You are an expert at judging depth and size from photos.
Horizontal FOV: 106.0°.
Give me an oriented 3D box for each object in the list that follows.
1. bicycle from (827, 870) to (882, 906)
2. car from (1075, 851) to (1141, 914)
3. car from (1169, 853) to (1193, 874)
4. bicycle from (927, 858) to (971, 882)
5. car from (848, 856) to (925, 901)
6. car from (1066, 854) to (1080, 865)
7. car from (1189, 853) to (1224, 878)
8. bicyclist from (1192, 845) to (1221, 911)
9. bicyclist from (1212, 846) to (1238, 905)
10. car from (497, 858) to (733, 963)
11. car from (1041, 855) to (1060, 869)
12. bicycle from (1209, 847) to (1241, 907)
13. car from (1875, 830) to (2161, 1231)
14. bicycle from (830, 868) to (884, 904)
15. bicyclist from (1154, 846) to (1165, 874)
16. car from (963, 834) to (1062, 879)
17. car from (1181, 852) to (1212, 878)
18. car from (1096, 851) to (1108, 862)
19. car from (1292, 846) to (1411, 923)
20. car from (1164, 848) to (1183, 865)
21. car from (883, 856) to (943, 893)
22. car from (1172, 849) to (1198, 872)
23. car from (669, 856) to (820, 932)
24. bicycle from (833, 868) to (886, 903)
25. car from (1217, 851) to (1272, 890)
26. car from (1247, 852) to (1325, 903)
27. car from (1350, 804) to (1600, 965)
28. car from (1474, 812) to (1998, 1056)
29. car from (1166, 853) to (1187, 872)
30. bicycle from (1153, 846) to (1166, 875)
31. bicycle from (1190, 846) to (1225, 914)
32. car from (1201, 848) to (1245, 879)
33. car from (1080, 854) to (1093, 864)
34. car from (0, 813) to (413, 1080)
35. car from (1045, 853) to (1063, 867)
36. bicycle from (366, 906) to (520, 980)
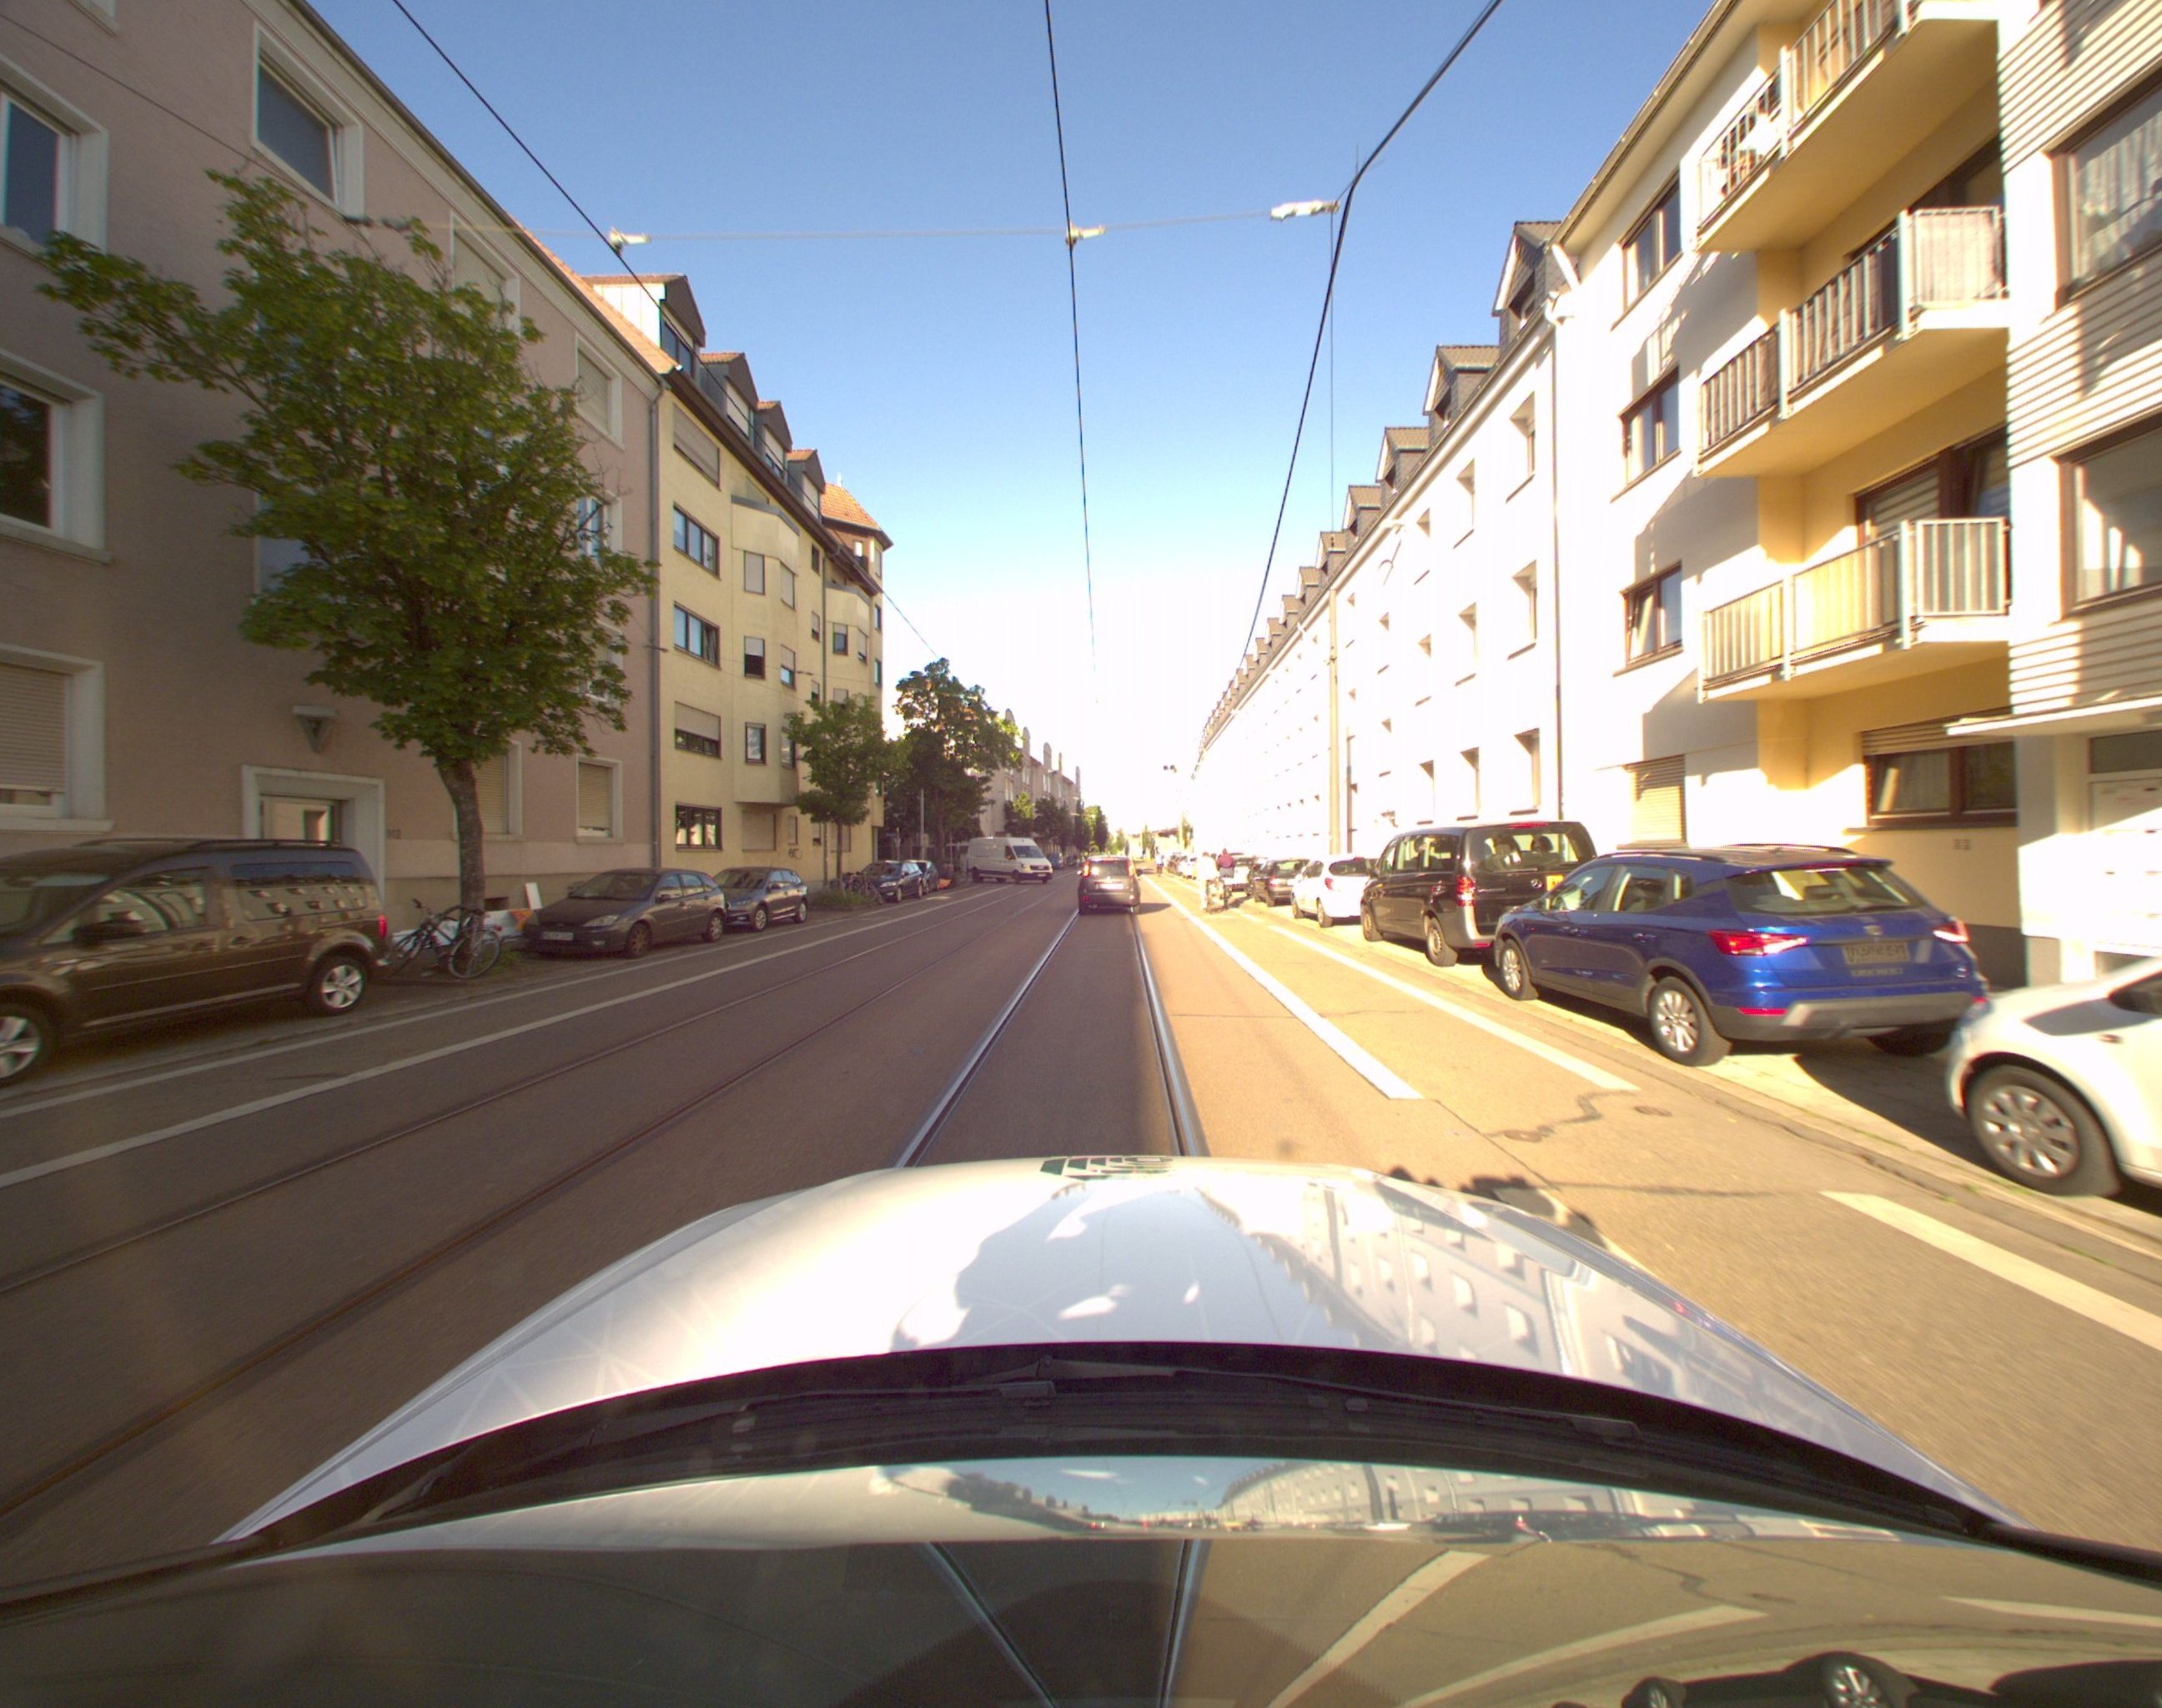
[{"bbox_3d":[-7.594,1.139,27.378,1.724,1.196,0.372,0,0,-2],"label":"bicycle"},{"bbox_3d":[0.772,0.704,22.457,1.643,1.541,4.238,0,0,3],"label":"car"},{"bbox_3d":[7.838,0.722,63.966,1.577,1.599,3.378,0,0,2],"label":"car"},{"bbox_3d":[-7.250,0.888,44.767,2.270,1.288,0.757,0,0,-3],"label":"bicycle"},{"bbox_3d":[-7.270,0.879,30.780,1.828,1.556,4.002,0,0,2],"label":"car"},{"bbox_3d":[-1.041,0.746,109.041,1.699,1.496,3.725,0,0,3],"label":"car"},{"bbox_3d":[7.228,0.636,47.086,1.577,1.405,3.378,0,0,2],"label":"car"},{"bbox_3d":[3.418,0.637,22.182,0.696,1.759,0.758,0,0,1],"label":"bicyclist"},{"bbox_3d":[4.375,0.639,24.789,0.696,1.759,0.758,0,0,1],"label":"bicyclist"},{"bbox_3d":[-8.193,0.892,14.818,1.801,1.619,4.067,0,0,2],"label":"car"},{"bbox_3d":[-3.314,0.850,89.225,1.699,1.496,3.725,0,0,3],"label":"car"},{"bbox_3d":[4.366,0.663,24.829,0.672,1.747,2.158,0,0,2],"label":"bicycle"},{"bbox_3d":[5.043,0.697,2.629,1.649,1.571,3.501,0,0,2],"label":"car"},{"bbox_3d":[-7.627,1.084,27.776,1.724,1.196,0.372,0,0,-2],"label":"bicycle"},{"bbox_3d":[5.589,0.434,57.993,0.712,2.013,0.832,0,0,1],"label":"bicyclist"},{"bbox_3d":[-4.023,0.117,46.256,2.186,2.403,6.845,0,0,-39],"label":"car"},{"bbox_3d":[7.267,0.660,51.601,1.577,1.599,3.378,0,0,2],"label":"car"},{"bbox_3d":[3.556,0.401,137.717,1.848,1.759,3.576,-1,0,4],"label":"car"},{"bbox_3d":[5.745,0.602,17.664,1.649,1.500,3.131,0,0,2],"label":"car"},{"bbox_3d":[8.999,0.266,79.451,1.577,1.599,3.378,0,0,2],"label":"car"},{"bbox_3d":[-7.342,0.872,35.952,1.828,1.556,3.378,0,0,2],"label":"car"},{"bbox_3d":[7.592,0.455,59.504,1.577,1.599,3.378,0,0,2],"label":"car"},{"bbox_3d":[-7.984,0.879,19.779,1.801,1.619,4.067,0,0,2],"label":"car"},{"bbox_3d":[-7.651,1.083,28.191,1.724,1.196,0.372,0,0,-2],"label":"bicycle"},{"bbox_3d":[6.584,0.631,33.044,1.577,1.405,3.378,-4,0,2],"label":"car"},{"bbox_3d":[6.035,0.664,24.346,1.577,1.405,3.378,0,0,2],"label":"car"},{"bbox_3d":[5.535,0.364,12.185,1.649,1.944,4.667,0,0,2],"label":"car"},{"bbox_3d":[5.191,0.512,7.232,1.649,1.571,3.878,0,0,2],"label":"car"},{"bbox_3d":[8.152,0.716,69.719,1.577,1.599,3.378,0,0,2],"label":"car"},{"bbox_3d":[5.592,0.462,57.981,0.739,2.013,2.813,0,0,2],"label":"bicycle"},{"bbox_3d":[3.444,0.679,22.258,0.672,1.747,2.158,0,0,2],"label":"bicycle"},{"bbox_3d":[6.724,0.436,38.817,1.577,1.405,3.378,0,0,2],"label":"car"},{"bbox_3d":[0.849,0.741,121.279,1.699,1.496,3.725,0,0,3],"label":"car"},{"bbox_3d":[-8.696,0.667,7.231,1.801,1.943,4.336,0,0,2],"label":"car"},{"bbox_3d":[-3.129,0.661,93.320,1.699,1.496,3.725,0,0,3],"label":"car"},{"bbox_3d":[-8.548,1.183,10.949,1.627,0.937,0.517,0,0,-2],"label":"bicycle"}]
